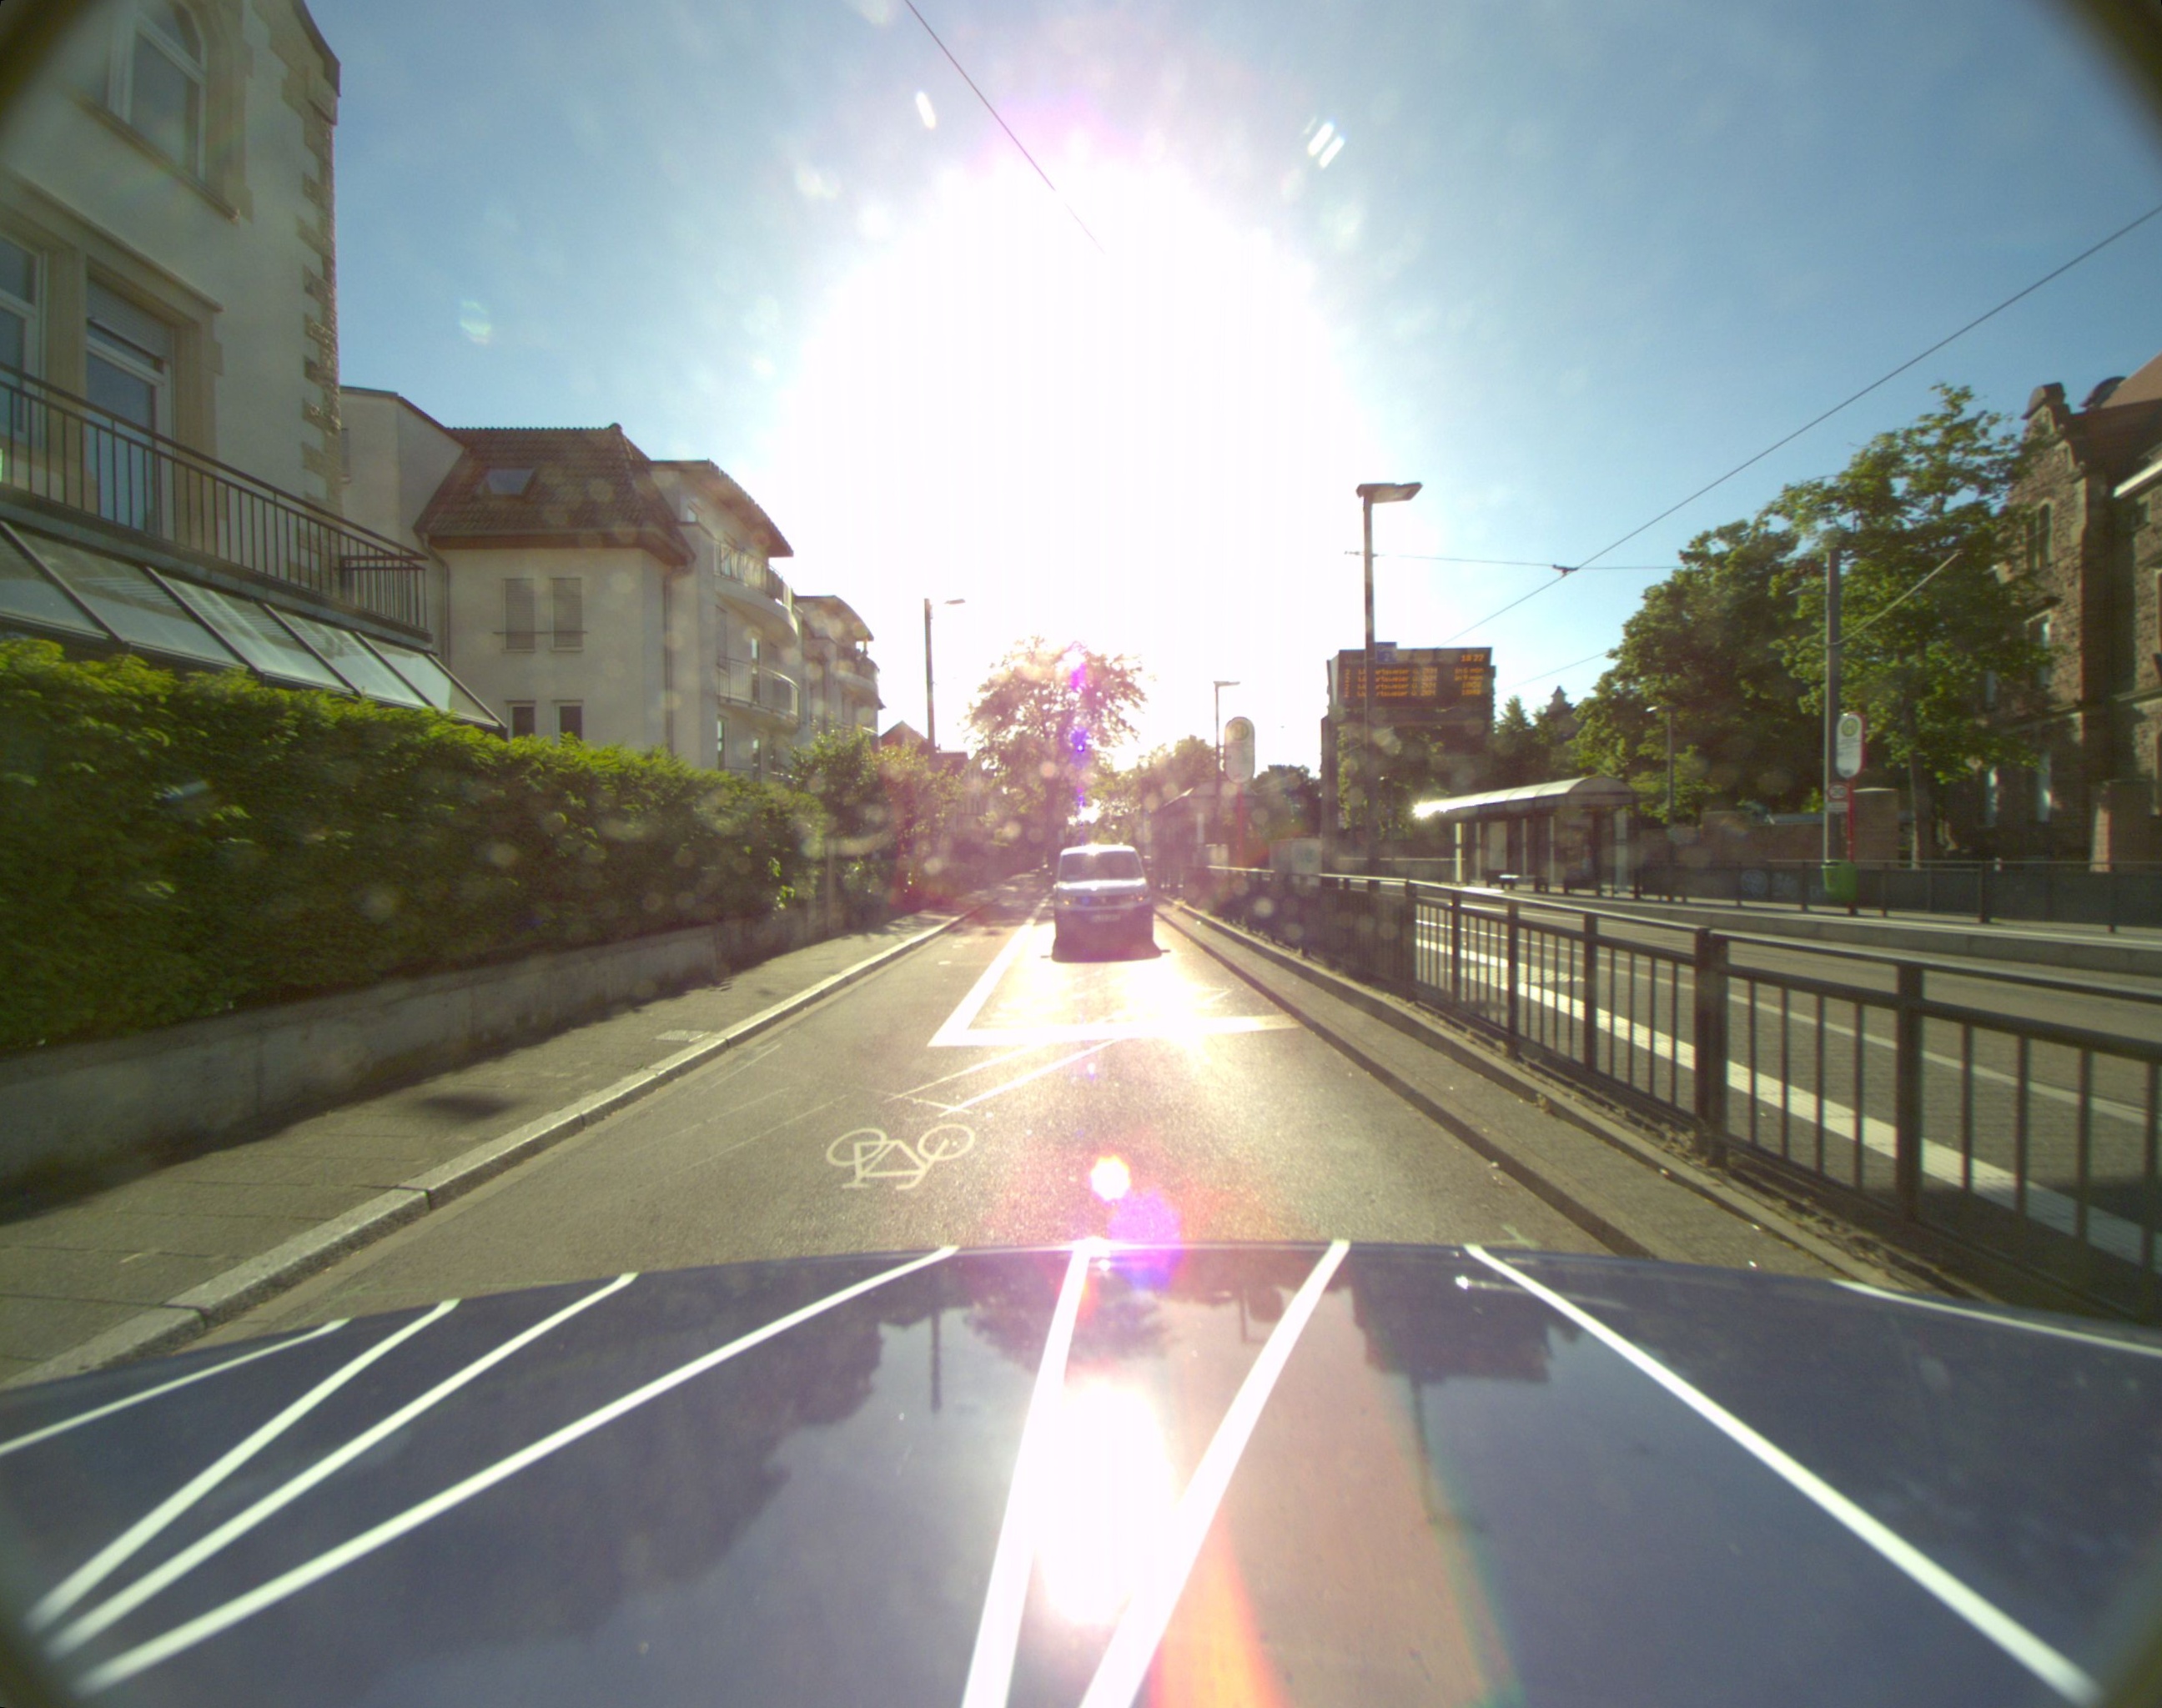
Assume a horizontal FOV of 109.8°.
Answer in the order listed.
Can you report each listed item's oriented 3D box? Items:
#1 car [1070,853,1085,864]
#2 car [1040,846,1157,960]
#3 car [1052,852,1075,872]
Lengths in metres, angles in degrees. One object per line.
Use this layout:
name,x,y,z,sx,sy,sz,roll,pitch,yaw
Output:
car,-0.455,0.623,106.103,1.719,1.332,3.918,-1,1,4
car,0.317,0.788,14.678,1.832,1.788,4.334,-3,1,1
car,-1.623,0.744,71.672,1.998,1.733,4.170,-1,1,0
